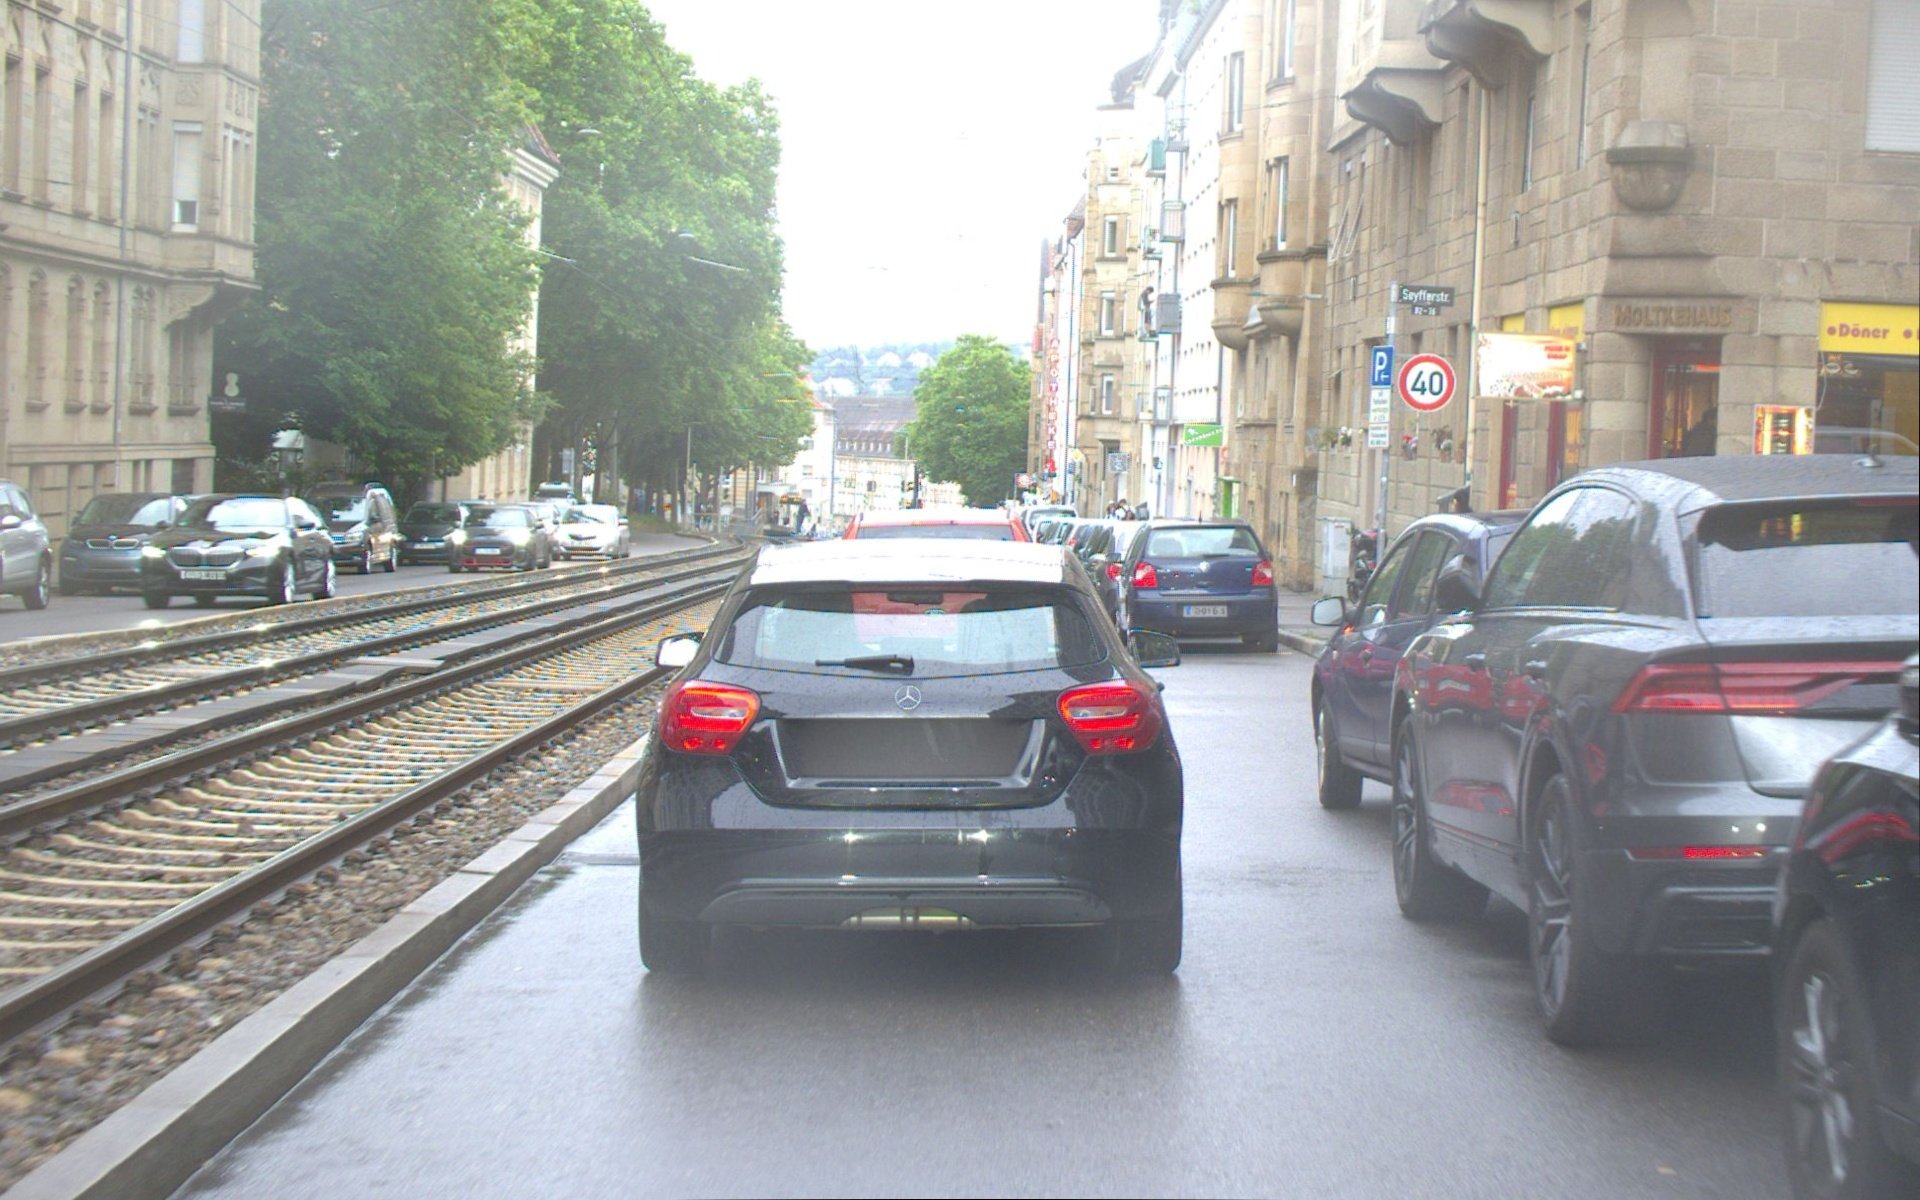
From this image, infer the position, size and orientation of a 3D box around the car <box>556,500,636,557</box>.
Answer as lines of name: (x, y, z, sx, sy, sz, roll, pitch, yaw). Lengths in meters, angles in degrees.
car: (-9.345, -1.857, 88.406, 1.569, 1.408, 3.481, 1, 2, 2)

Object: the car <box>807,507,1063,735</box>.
car: (-0.182, 0.082, 24.474, 1.649, 1.447, 4.001, 1, 2, -1)

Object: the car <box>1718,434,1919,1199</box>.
car: (2.579, 0.561, 5.583, 1.682, 1.664, 4.123, 1, 2, -1)

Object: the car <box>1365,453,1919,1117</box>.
car: (2.468, 0.408, 11.011, 1.750, 1.664, 4.704, 1, 2, 0)

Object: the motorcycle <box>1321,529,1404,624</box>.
motorcycle: (5.876, -0.364, 50.285, 0.880, 1.311, 2.396, 2, 1, 0)

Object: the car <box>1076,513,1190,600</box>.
car: (2.755, -0.729, 55.405, 1.613, 1.313, 4.000, 1, 2, 0)

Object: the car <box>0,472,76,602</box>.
car: (-12.603, -0.807, 43.022, 1.806, 1.591, 4.526, 1, 2, 2)

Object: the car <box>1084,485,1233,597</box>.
car: (2.440, -0.762, 43.097, 1.613, 1.313, 4.000, 1, 2, 0)

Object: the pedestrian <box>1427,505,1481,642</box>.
pedestrian: (5.363, -0.293, 37.337, 0.454, 1.461, 0.610, 2, 1, 0)

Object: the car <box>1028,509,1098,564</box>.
car: (2.591, -1.626, 87.127, 1.613, 1.313, 4.000, 1, 2, 0)

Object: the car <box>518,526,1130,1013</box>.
car: (-0.363, 0.474, 12.486, 1.866, 1.447, 4.000, 0, 2, 2)

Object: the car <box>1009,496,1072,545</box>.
car: (2.187, -2.190, 94.384, 1.613, 1.313, 4.000, 1, 2, 0)

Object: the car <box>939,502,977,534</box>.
car: (-0.103, -3.569, 149.318, 1.613, 1.313, 4.000, 1, 2, 0)

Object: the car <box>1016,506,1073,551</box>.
car: (2.571, -2.210, 105.343, 1.613, 1.313, 4.000, 1, 2, 0)

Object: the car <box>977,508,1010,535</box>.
car: (1.675, -3.992, 174.884, 1.613, 1.313, 4.000, 1, 2, 0)

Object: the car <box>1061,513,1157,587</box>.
car: (2.788, -0.965, 64.895, 1.613, 1.313, 4.000, 1, 2, 0)

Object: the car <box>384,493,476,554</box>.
car: (-12.676, -1.841, 82.431, 1.569, 1.408, 3.481, 1, 2, 2)

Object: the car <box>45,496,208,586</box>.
car: (-12.775, -0.927, 52.873, 1.569, 1.312, 3.481, 1, 2, 2)

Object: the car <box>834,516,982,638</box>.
car: (-0.572, -0.304, 39.795, 1.613, 1.313, 4.000, 1, 2, 0)

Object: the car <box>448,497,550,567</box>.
car: (-9.605, -1.435, 71.795, 1.569, 1.408, 3.481, 1, 2, 2)

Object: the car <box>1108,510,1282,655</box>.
car: (2.542, -0.235, 37.995, 1.621, 1.479, 4.000, 1, 2, 0)

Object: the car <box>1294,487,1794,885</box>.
car: (2.575, 0.296, 16.017, 1.613, 1.599, 4.000, 1, 2, 0)

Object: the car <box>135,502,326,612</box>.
car: (-9.601, -0.595, 45.482, 1.695, 1.383, 3.481, 1, 2, 2)
